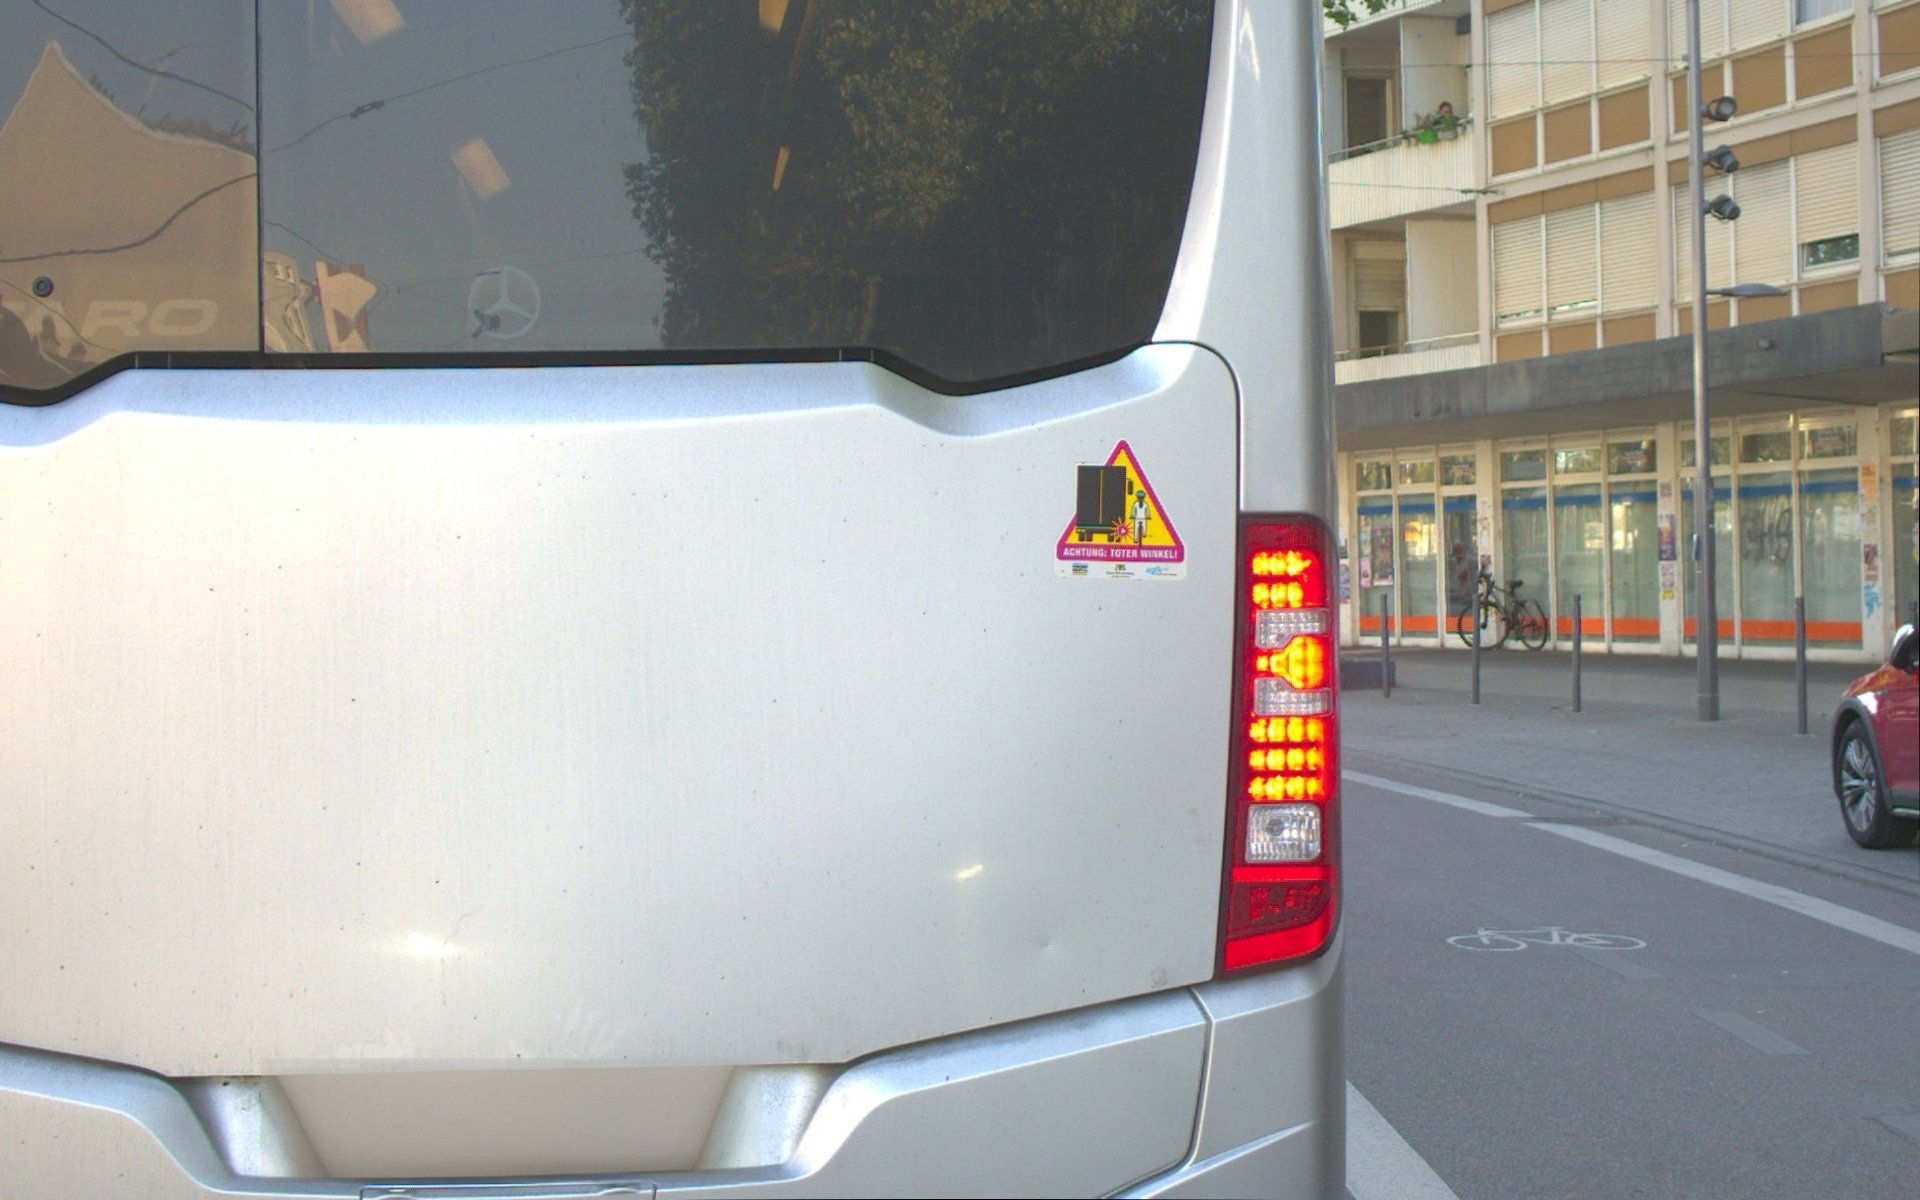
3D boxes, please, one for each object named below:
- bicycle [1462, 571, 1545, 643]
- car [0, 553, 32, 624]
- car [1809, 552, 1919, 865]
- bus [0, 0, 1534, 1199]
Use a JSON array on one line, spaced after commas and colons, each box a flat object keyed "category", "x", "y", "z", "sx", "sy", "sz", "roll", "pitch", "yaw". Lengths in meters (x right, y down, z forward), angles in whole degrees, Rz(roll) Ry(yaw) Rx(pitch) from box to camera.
[{"category": "bicycle", "x": 7.189, "y": 0.087, "z": 45.530, "sx": 0.412, "sy": 0.941, "sz": 1.441, "roll": -1, "pitch": 1, "yaw": -20}, {"category": "car", "x": -25.554, "y": -0.306, "z": 87.895, "sx": 1.994, "sy": 1.785, "sz": 3.998, "roll": 1, "pitch": 0, "yaw": -41}, {"category": "car", "x": 5.504, "y": 0.503, "z": 15.876, "sx": 1.769, "sy": 1.477, "sz": 4.304, "roll": -2, "pitch": 1, "yaw": -4}, {"category": "bus", "x": -0.711, "y": -0.144, "z": 9.807, "sx": 2.630, "sy": 3.017, "sz": 9.998, "roll": 0, "pitch": 1, "yaw": -2}]
